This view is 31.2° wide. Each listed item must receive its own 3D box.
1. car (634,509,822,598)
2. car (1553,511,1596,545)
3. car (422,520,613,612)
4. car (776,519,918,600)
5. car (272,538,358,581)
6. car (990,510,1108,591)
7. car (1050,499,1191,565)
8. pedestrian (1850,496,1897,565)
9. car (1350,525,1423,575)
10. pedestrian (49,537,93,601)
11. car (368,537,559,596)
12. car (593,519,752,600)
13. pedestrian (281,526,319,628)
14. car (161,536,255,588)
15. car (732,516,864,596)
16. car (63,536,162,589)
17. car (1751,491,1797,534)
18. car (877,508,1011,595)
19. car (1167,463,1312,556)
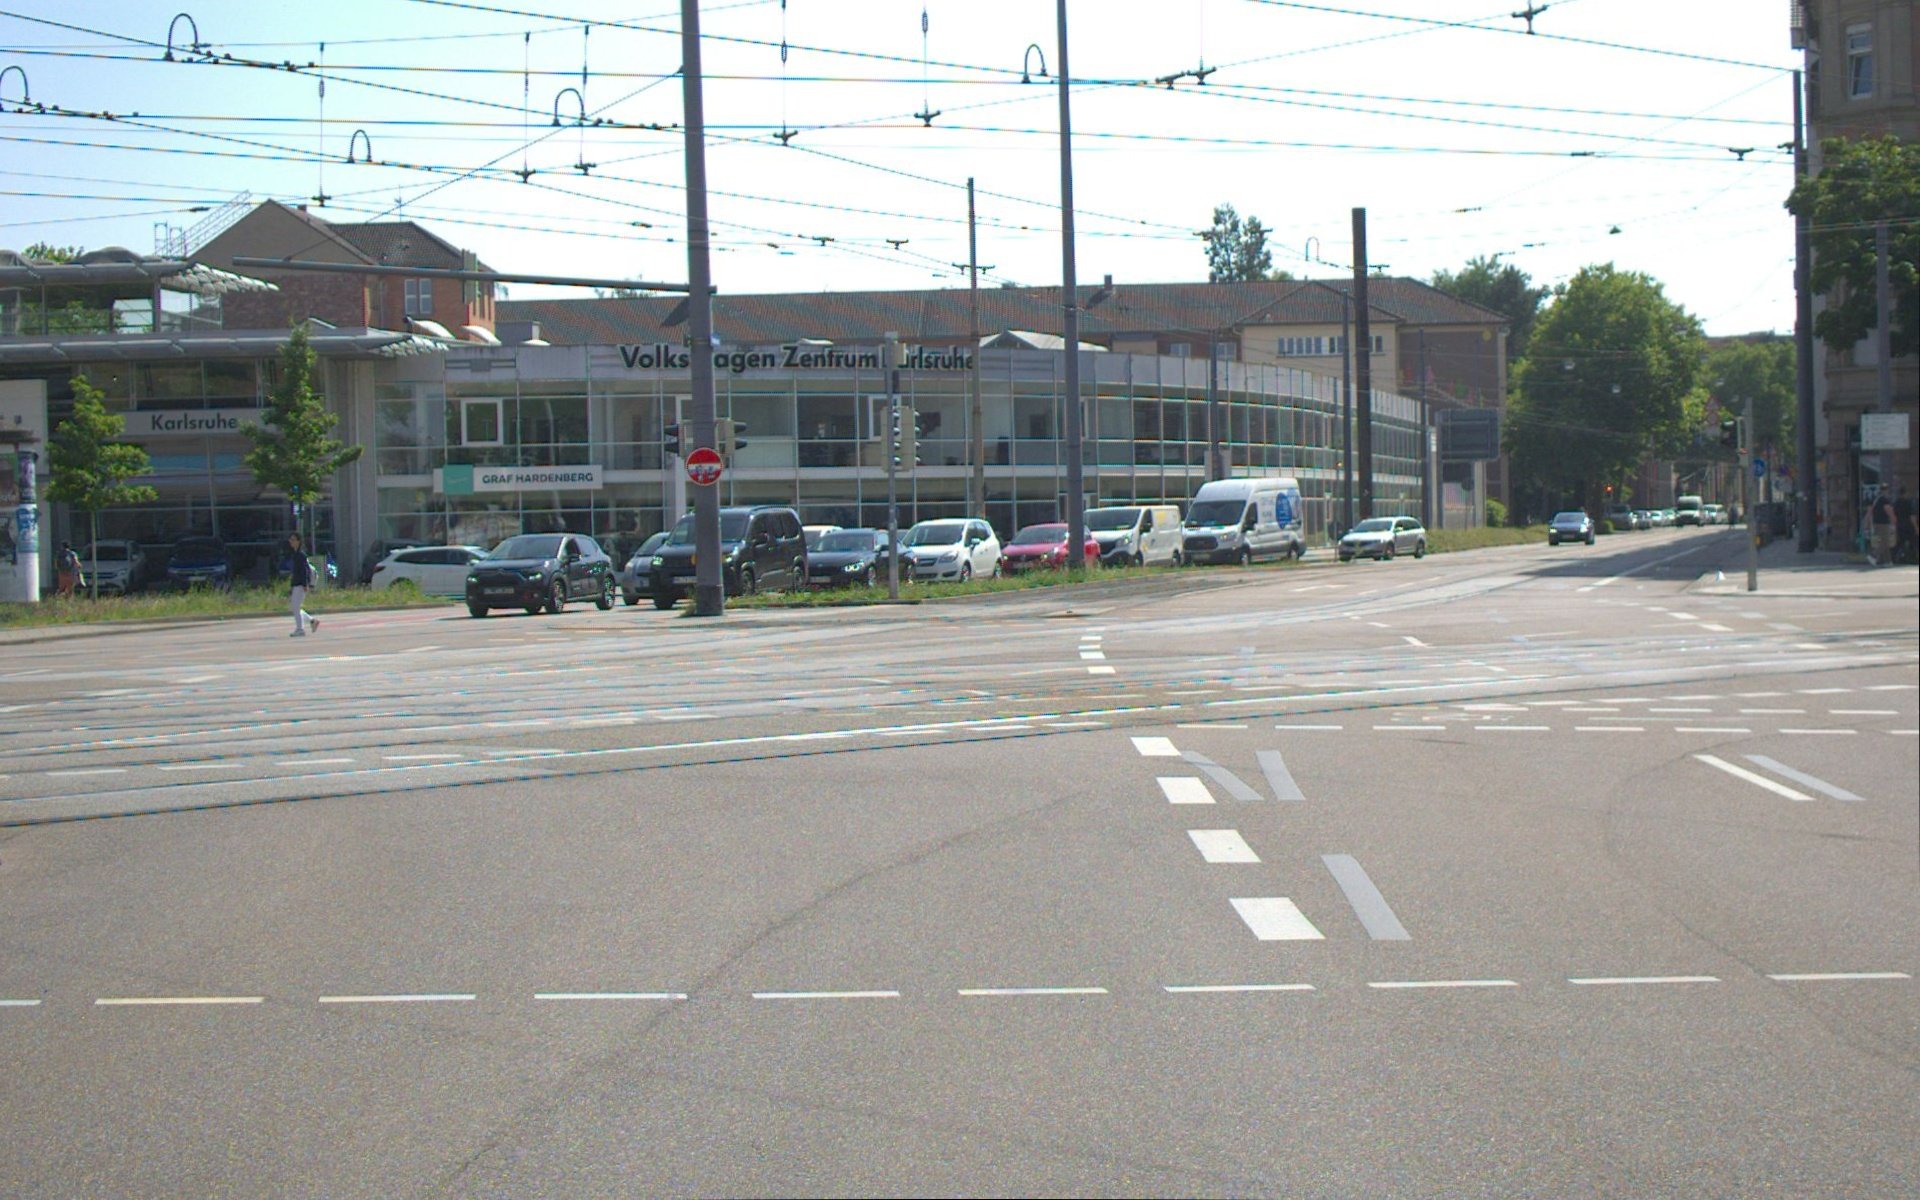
[{"bbox_3d":[-4.302,-0.899,64.617,1.962,1.582,4.713,-1,1,17],"label":"car"},{"bbox_3d":[26.737,-3.119,149.498,1.385,1.409,3.010,1,1,19],"label":"car"},{"bbox_3d":[-8.061,-0.612,63.026,1.893,1.582,4.207,-1,0,17],"label":"car"},{"bbox_3d":[-2.307,-0.821,71.143,1.895,1.582,3.997,-1,0,14],"label":"car"},{"bbox_3d":[-18.735,-1.184,99.972,1.830,1.191,4.000,1,1,-2],"label":"car"},{"bbox_3d":[2.240,-1.211,85.331,1.896,1.910,4.197,-1,0,17],"label":"car"},{"bbox_3d":[4.350,-1.832,92.301,2.188,1.675,5.024,-1,1,22],"label":"car"},{"bbox_3d":[19.345,-1.469,72.816,0.612,1.428,0.712,0,0,-38],"label":"pedestrian"},{"bbox_3d":[14.367,-1.684,115.749,1.386,1.619,3.335,1,1,27],"label":"car"},{"bbox_3d":[-22.327,-0.780,86.349,0.953,1.574,0.534,1,0,-3],"label":"pedestrian"},{"bbox_3d":[-12.637,-0.849,87.482,4.587,1.431,1.443,1,0,13],"label":"car"},{"bbox_3d":[-5.875,-0.827,70.792,1.896,1.582,3.997,-1,0,17],"label":"car"},{"bbox_3d":[-10.422,-0.360,54.288,0.453,1.599,0.400,1,0,-36],"label":"pedestrian"},{"bbox_3d":[-21.929,-1.113,100.362,1.993,1.481,4.000,1,1,-2],"label":"car"},{"bbox_3d":[-3.634,-0.980,77.760,1.653,1.733,4.197,-1,0,17],"label":"car"},{"bbox_3d":[-24.714,-1.098,100.390,1.993,1.481,4.000,1,1,-2],"label":"car"},{"bbox_3d":[39.147,-4.197,165.297,2.110,2.007,3.998,-1,1,14],"label":"car"},{"bbox_3d":[-0.332,-1.086,78.433,1.896,1.910,4.197,-1,0,17],"label":"car"},{"bbox_3d":[8.146,-2.584,99.700,2.211,2.566,5.867,1,1,26],"label":"car"}]
